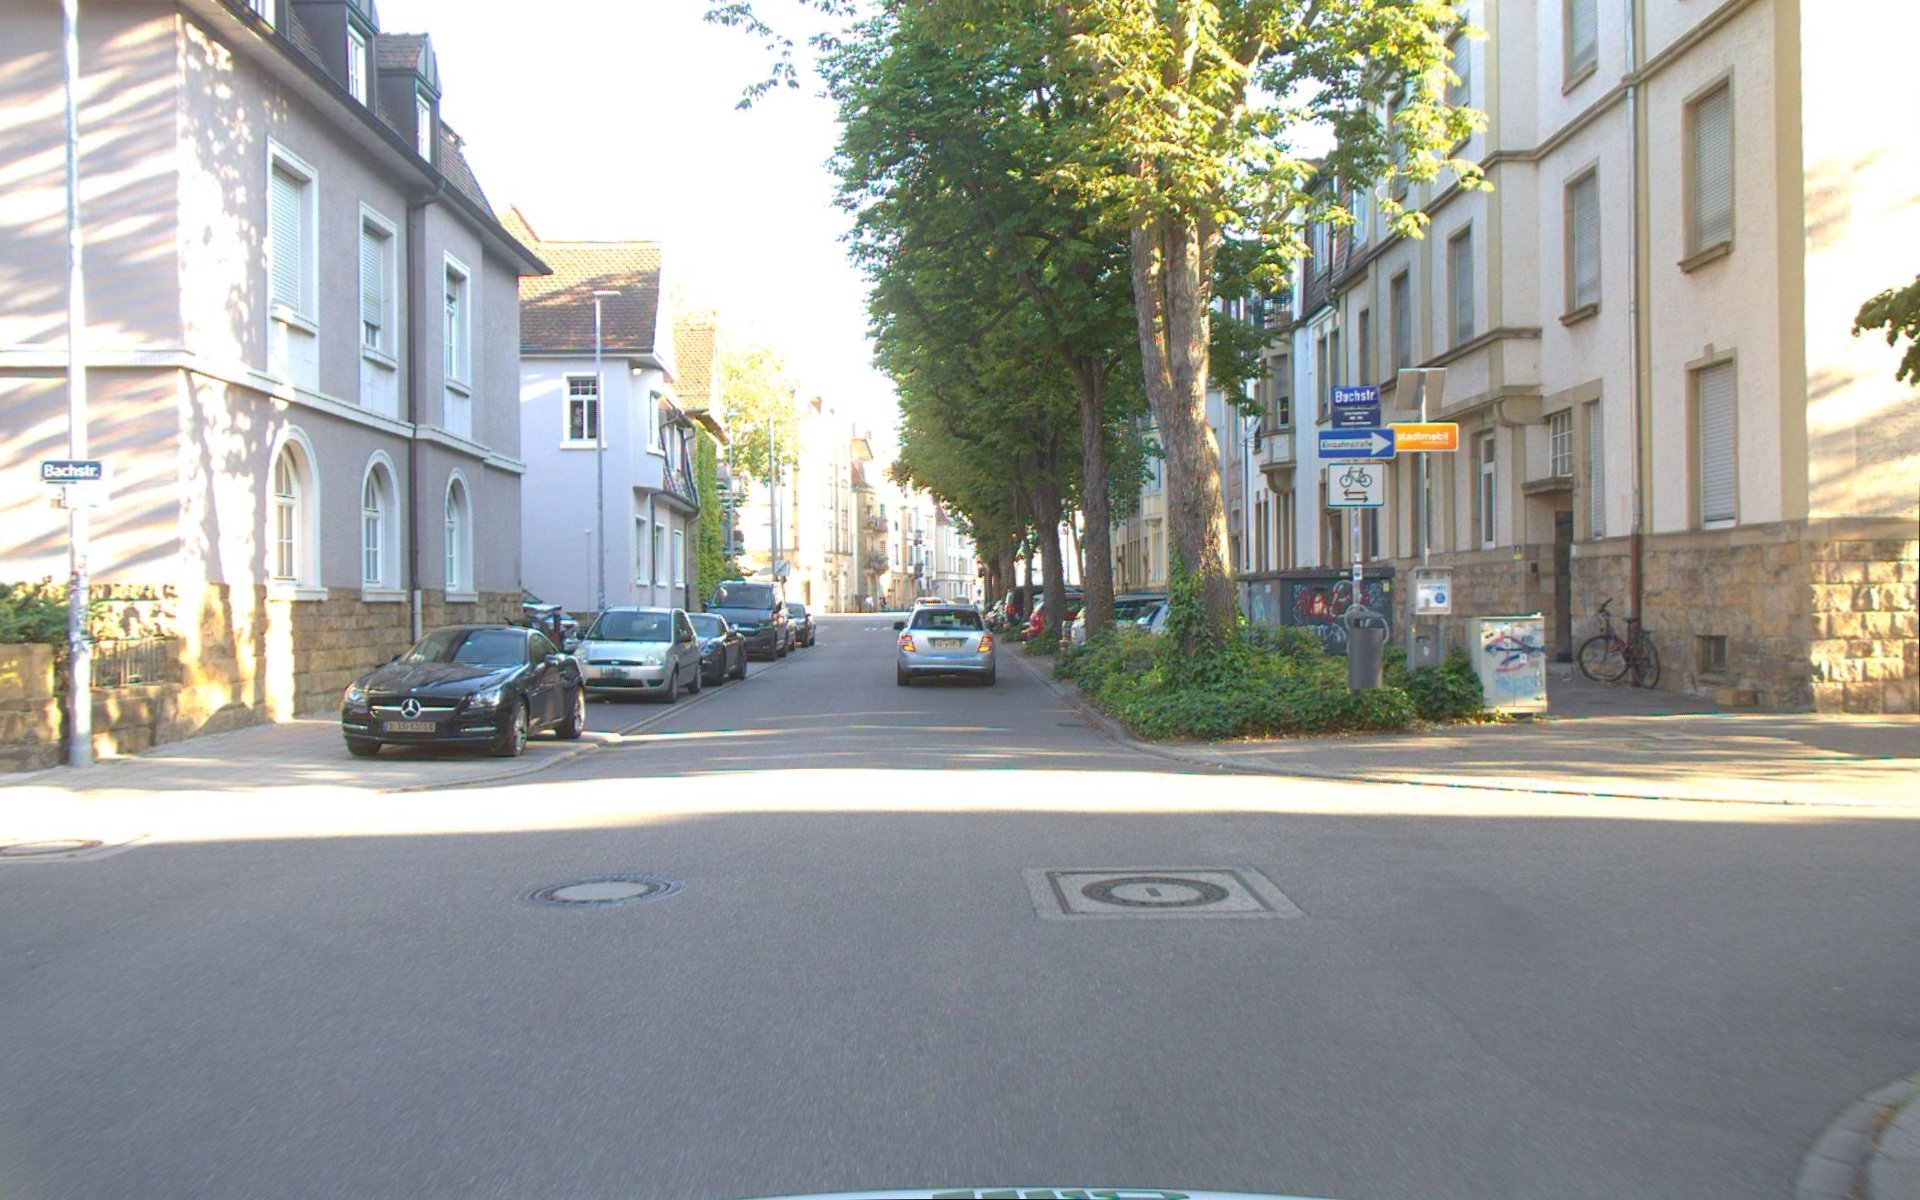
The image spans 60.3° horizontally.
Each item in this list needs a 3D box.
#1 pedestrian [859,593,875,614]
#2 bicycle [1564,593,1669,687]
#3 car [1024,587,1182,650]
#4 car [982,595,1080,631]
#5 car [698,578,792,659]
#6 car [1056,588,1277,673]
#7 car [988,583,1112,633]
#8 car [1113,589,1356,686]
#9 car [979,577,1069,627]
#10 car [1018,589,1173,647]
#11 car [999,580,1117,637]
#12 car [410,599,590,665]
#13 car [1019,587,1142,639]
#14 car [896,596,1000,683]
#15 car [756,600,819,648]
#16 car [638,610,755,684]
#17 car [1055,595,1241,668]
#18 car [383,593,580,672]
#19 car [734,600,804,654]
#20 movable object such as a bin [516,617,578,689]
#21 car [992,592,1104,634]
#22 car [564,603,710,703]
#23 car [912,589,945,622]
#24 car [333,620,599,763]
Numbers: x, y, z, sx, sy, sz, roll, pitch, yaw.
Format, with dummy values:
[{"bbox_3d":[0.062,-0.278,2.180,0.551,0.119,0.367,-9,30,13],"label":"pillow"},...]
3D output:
[{"bbox_3d":[-8.101,0.315,144.456,1.195,1.752,1.504,0,0,2],"label":"pedestrian"},{"bbox_3d":[9.019,0.525,22.795,0.573,1.233,1.956,0,0,-3],"label":"bicycle"},{"bbox_3d":[3.840,0.501,44.949,4.103,1.501,1.852,-3,0,1],"label":"car"},{"bbox_3d":[3.141,0.555,73.716,4.203,1.442,1.876,-2,0,-4],"label":"car"},{"bbox_3d":[-5.597,0.454,43.583,1.942,1.981,4.849,1,0,-2],"label":"car"},{"bbox_3d":[4.064,0.590,32.832,4.067,1.604,1.710,-1,0,-6],"label":"car"},{"bbox_3d":[3.722,0.319,68.804,4.953,2.024,2.071,0,0,-4],"label":"car"},{"bbox_3d":[4.597,0.604,27.999,3.720,1.463,1.747,-2,0,-6],"label":"car"},{"bbox_3d":[3.141,0.097,81.628,4.301,2.405,1.999,0,0,-4],"label":"car"},{"bbox_3d":[3.868,0.518,47.763,4.320,1.444,1.877,-3,0,1],"label":"car"},{"bbox_3d":[3.616,0.309,61.541,4.136,1.929,1.904,-2,0,-3],"label":"car"},{"bbox_3d":[-10.693,0.721,38.637,3.788,1.469,1.633,0,1,-5],"label":"car"},{"bbox_3d":[4.095,0.440,56.851,4.027,1.599,1.876,-2,0,-1],"label":"car"},{"bbox_3d":[-0.214,0.679,29.968,1.747,1.462,3.850,0,-1,0],"label":"car"},{"bbox_3d":[-5.614,0.762,54.340,1.660,1.472,4.357,1,0,-1],"label":"car"},{"bbox_3d":[-5.052,0.869,32.195,1.499,1.342,4.227,0,0,1],"label":"car"},{"bbox_3d":[3.956,0.654,35.252,3.716,1.463,1.817,-1,0,-2],"label":"car"},{"bbox_3d":[-10.346,0.681,36.000,3.788,1.650,1.896,0,1,-5],"label":"car"},{"bbox_3d":[-5.639,0.765,49.285,1.620,1.472,4.236,1,0,-1],"label":"car"},{"bbox_3d":[-8.019,1.012,32.206,0.707,1.306,2.096,0,0,-1],"label":"movable object such as a bin"},{"bbox_3d":[3.404,0.482,64.427,4.203,1.568,1.876,0,0,-4],"label":"car"},{"bbox_3d":[-5.186,0.800,27.018,1.620,1.471,3.960,1,0,0],"label":"car"},{"bbox_3d":[-1.531,0.263,81.702,1.590,1.597,3.680,0,0,0],"label":"car"},{"bbox_3d":[-5.284,0.919,18.236,1.619,1.347,4.046,1,0,1],"label":"car"}]
